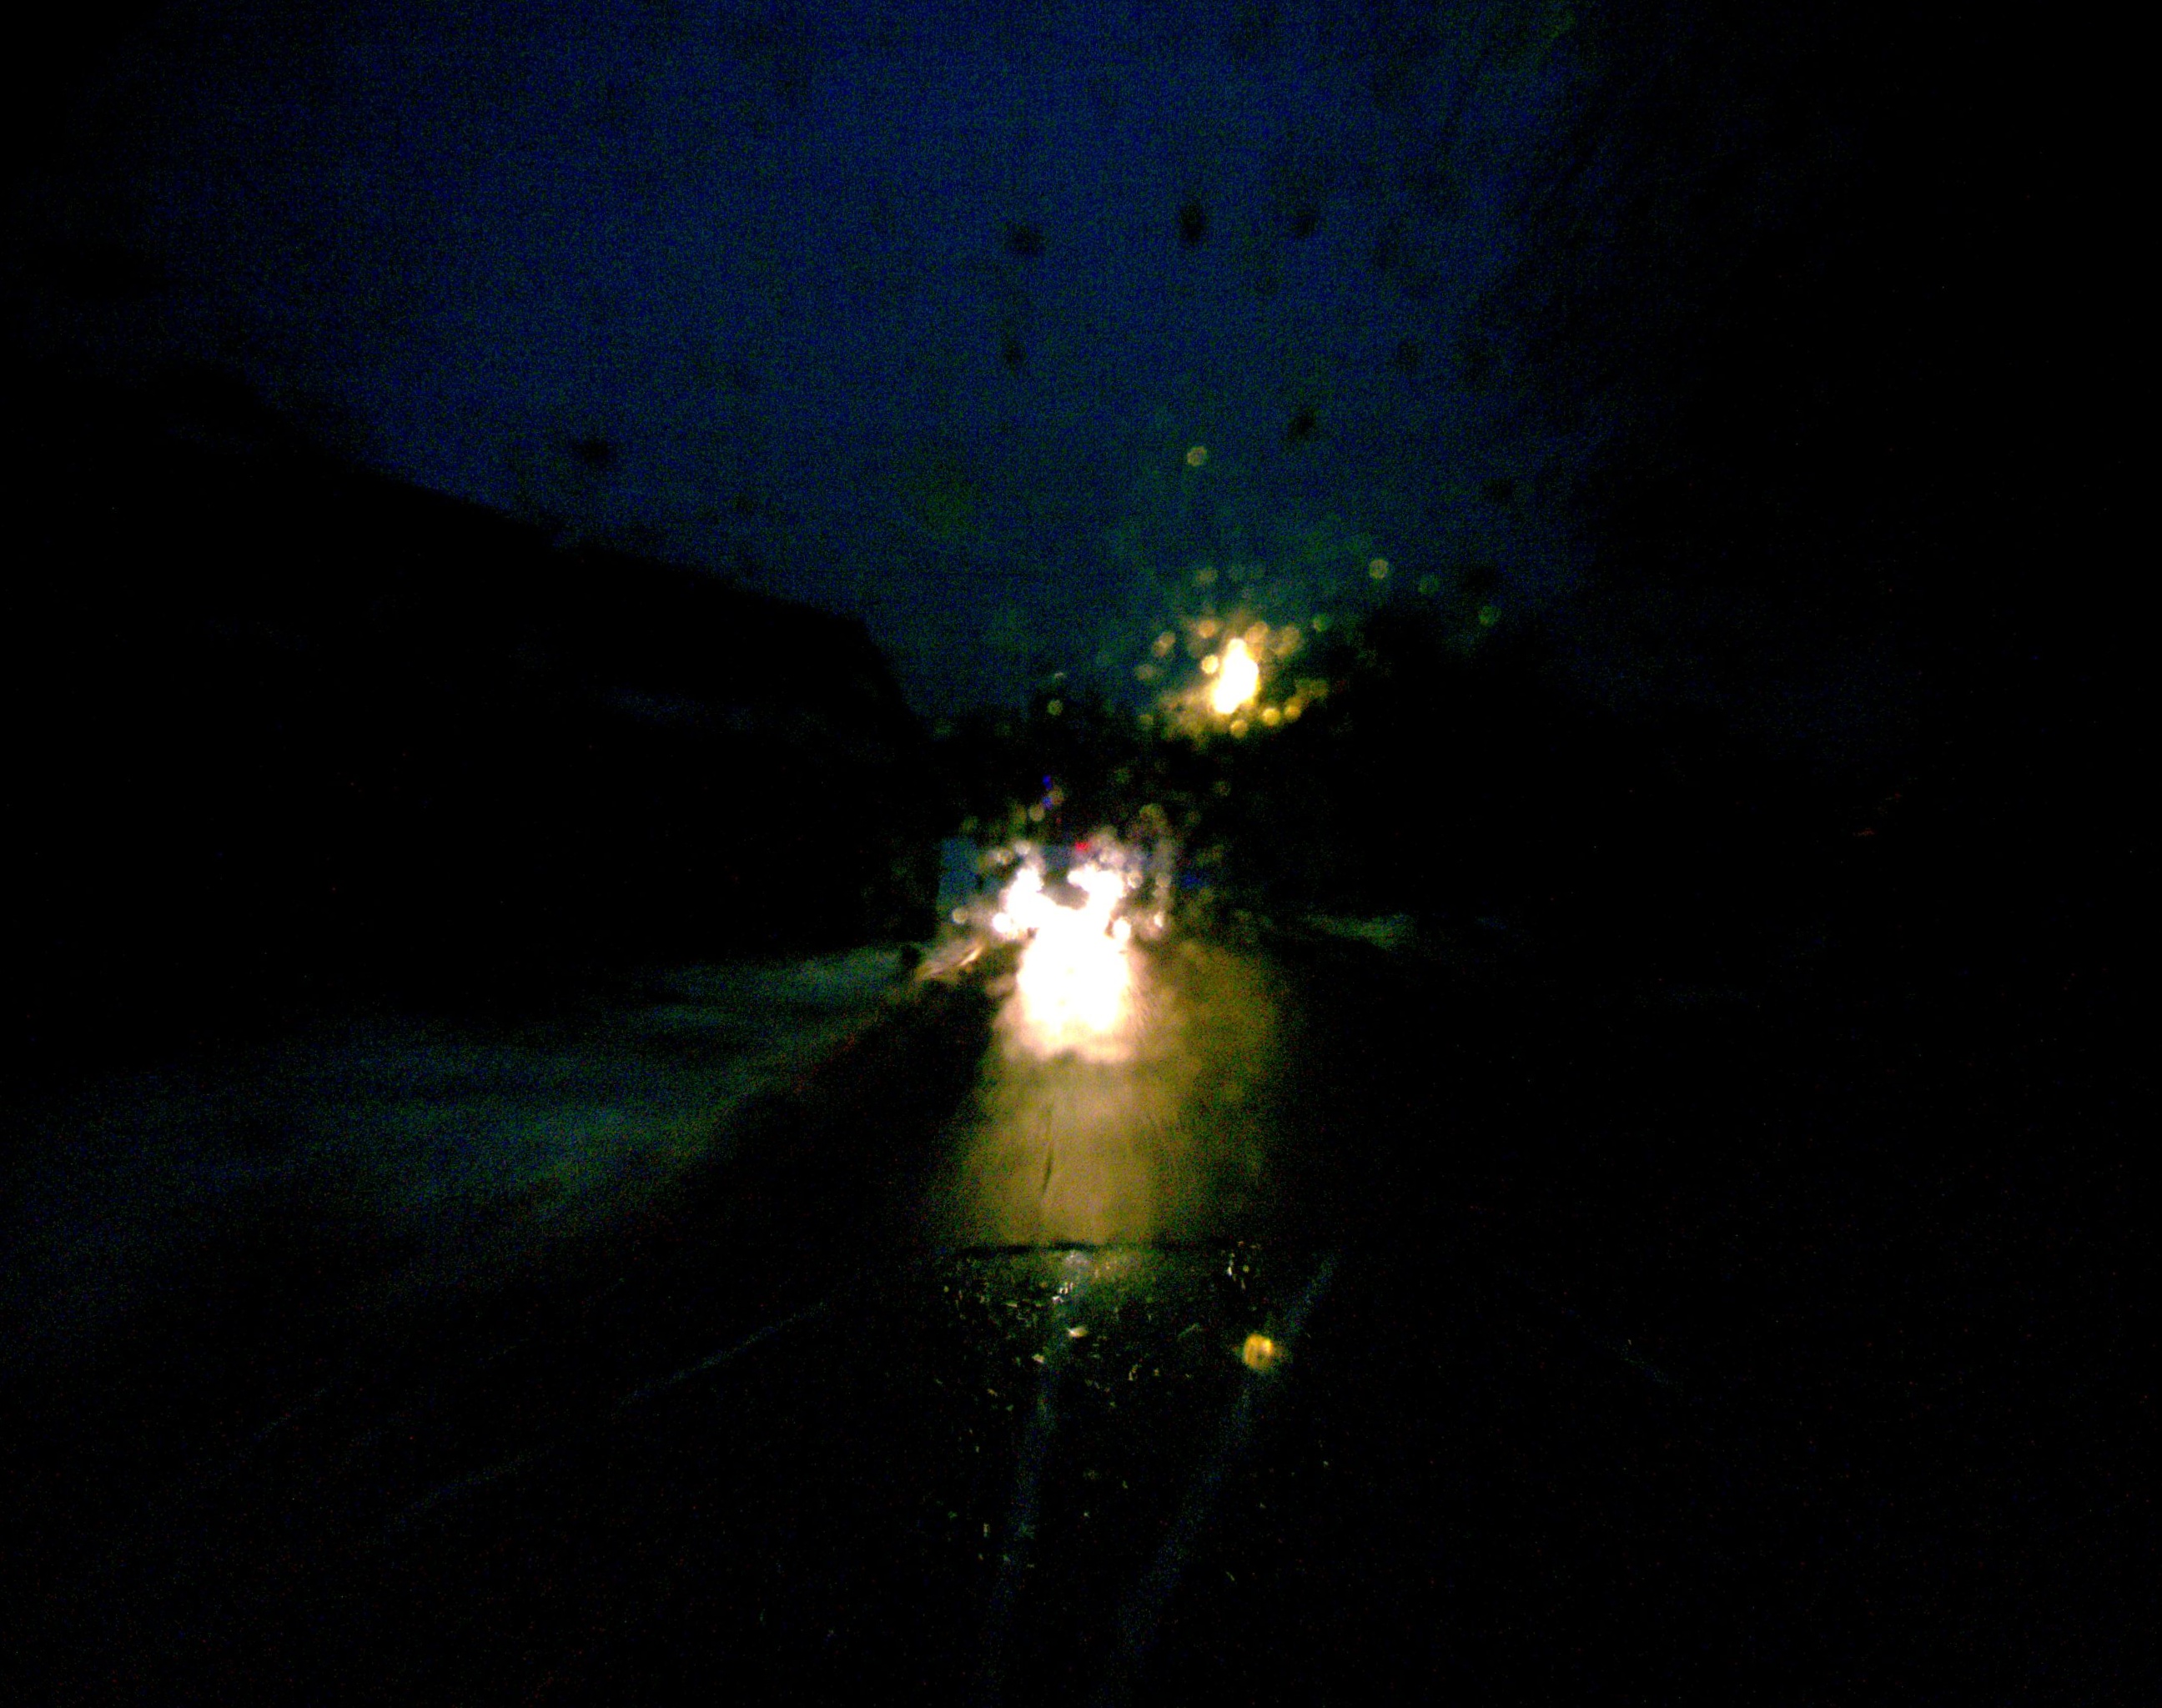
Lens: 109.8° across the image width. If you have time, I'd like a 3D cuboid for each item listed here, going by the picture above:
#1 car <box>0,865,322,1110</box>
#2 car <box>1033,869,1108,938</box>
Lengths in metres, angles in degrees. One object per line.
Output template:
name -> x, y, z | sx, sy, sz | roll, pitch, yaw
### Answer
car -> -9.349, 0.928, 6.429 | 4.403, 1.647, 1.864 | 0, -1, 8
car -> -0.298, 1.121, 18.510 | 1.650, 1.446, 3.680 | 0, 0, -2
